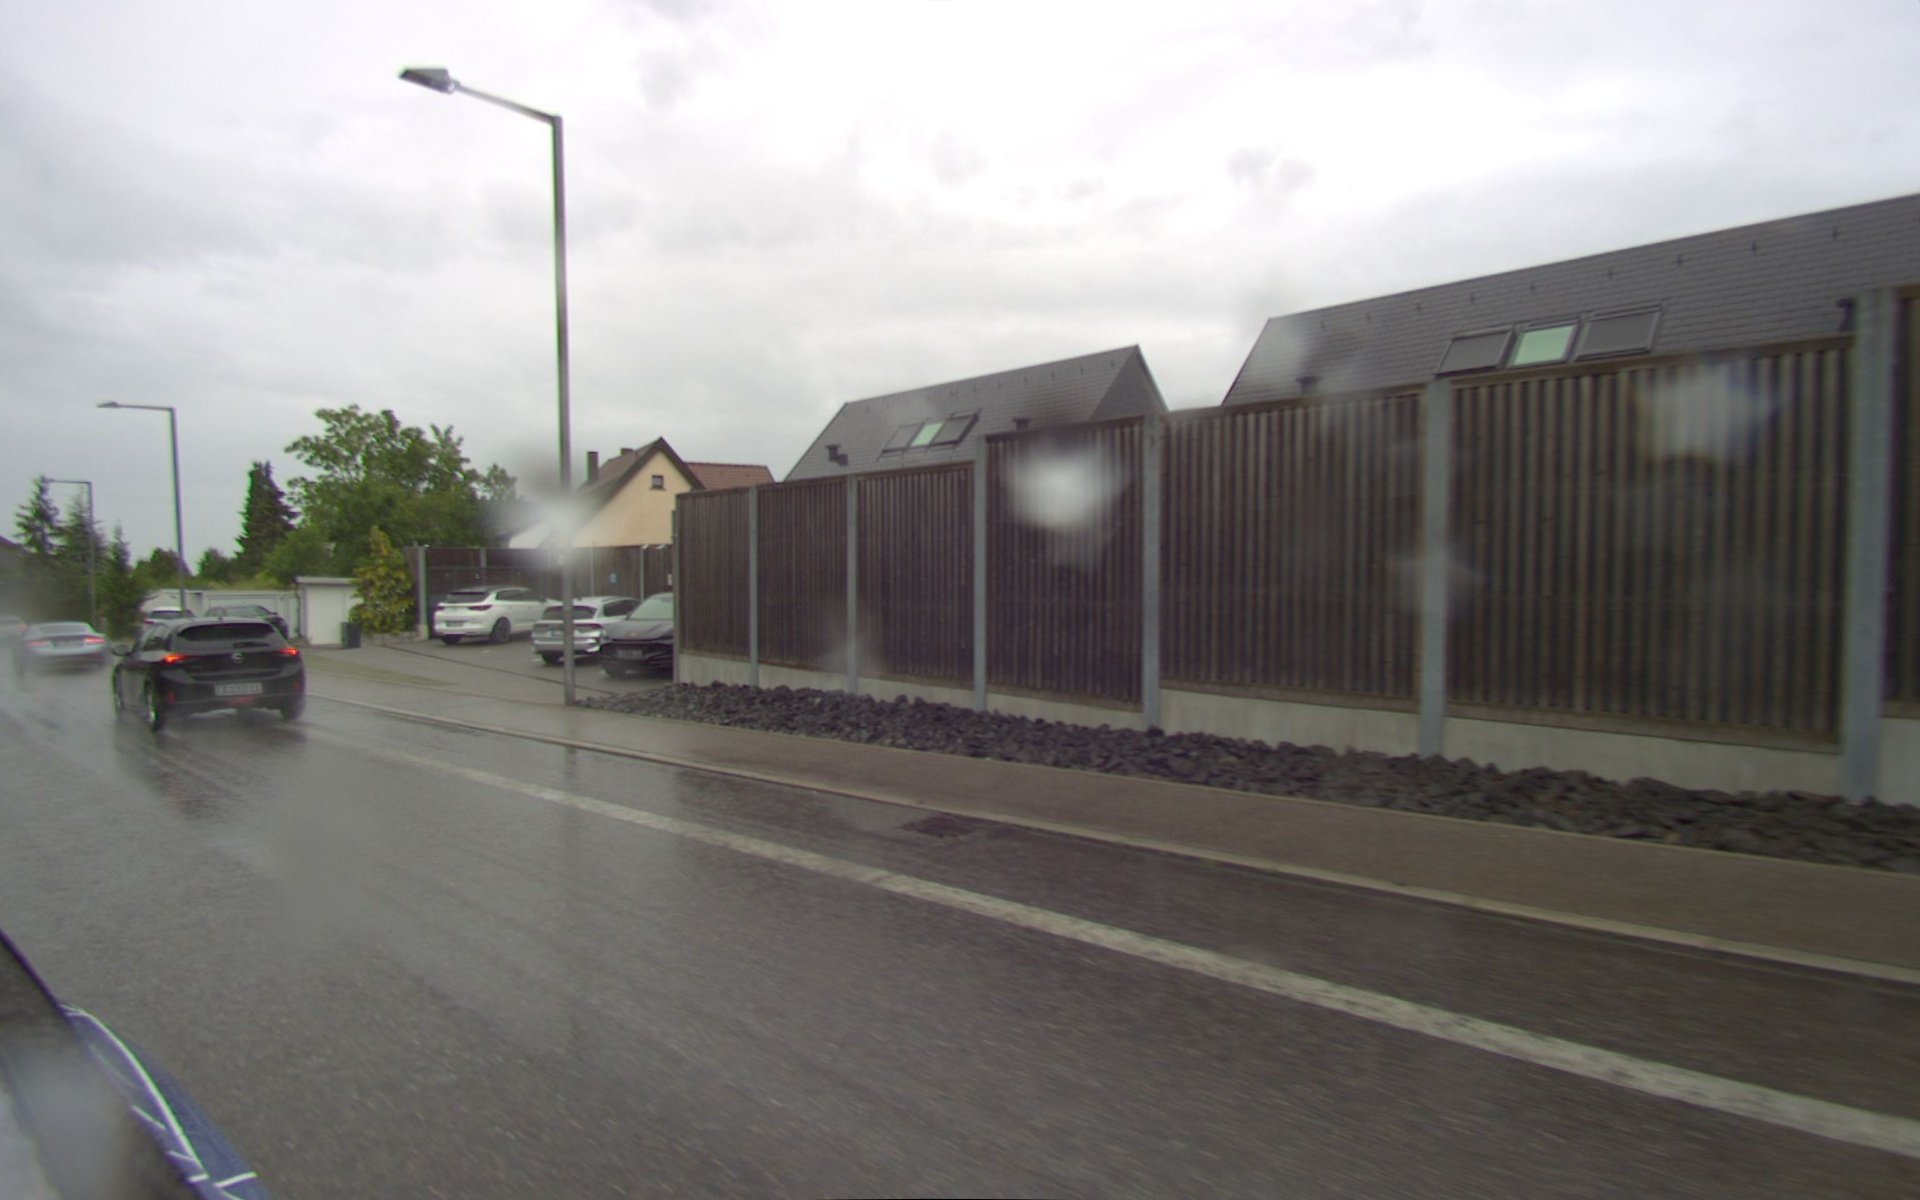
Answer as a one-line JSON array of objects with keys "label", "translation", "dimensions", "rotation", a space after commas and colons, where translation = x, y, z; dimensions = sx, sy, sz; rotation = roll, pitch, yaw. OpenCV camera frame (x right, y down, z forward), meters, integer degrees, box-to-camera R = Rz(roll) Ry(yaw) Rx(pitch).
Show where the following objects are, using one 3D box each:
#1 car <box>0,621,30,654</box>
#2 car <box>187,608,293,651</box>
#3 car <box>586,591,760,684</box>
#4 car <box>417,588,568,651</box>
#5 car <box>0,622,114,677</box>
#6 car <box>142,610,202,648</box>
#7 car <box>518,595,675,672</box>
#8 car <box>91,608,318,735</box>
[{"label": "car", "translation": [-46.031, 1.810, 48.486], "dimensions": [4.268, 1.471, 1.827], "rotation": [-1, 2, 43]}, {"label": "car", "translation": [-26.265, 1.072, 36.877], "dimensions": [4.250, 1.416, 1.818], "rotation": [-2, 1, 35]}, {"label": "car", "translation": [-5.850, 0.692, 21.220], "dimensions": [1.817, 1.612, 4.281], "rotation": [-2, 1, 10]}, {"label": "car", "translation": [-13.550, 0.513, 29.611], "dimensions": [1.922, 1.585, 4.043], "rotation": [-2, 1, 12]}, {"label": "car", "translation": [-24.365, 1.287, 27.230], "dimensions": [4.207, 1.293, 1.862], "rotation": [-1, 1, 42]}, {"label": "car", "translation": [-36.808, 1.326, 47.368], "dimensions": [1.682, 1.565, 4.401], "rotation": [-3, 1, -32]}, {"label": "car", "translation": [-8.447, 0.711, 24.015], "dimensions": [1.739, 1.452, 4.528], "rotation": [-2, 2, 5]}, {"label": "car", "translation": [-10.773, 0.904, 14.314], "dimensions": [4.209, 1.460, 1.861], "rotation": [-1, 1, 44]}]
